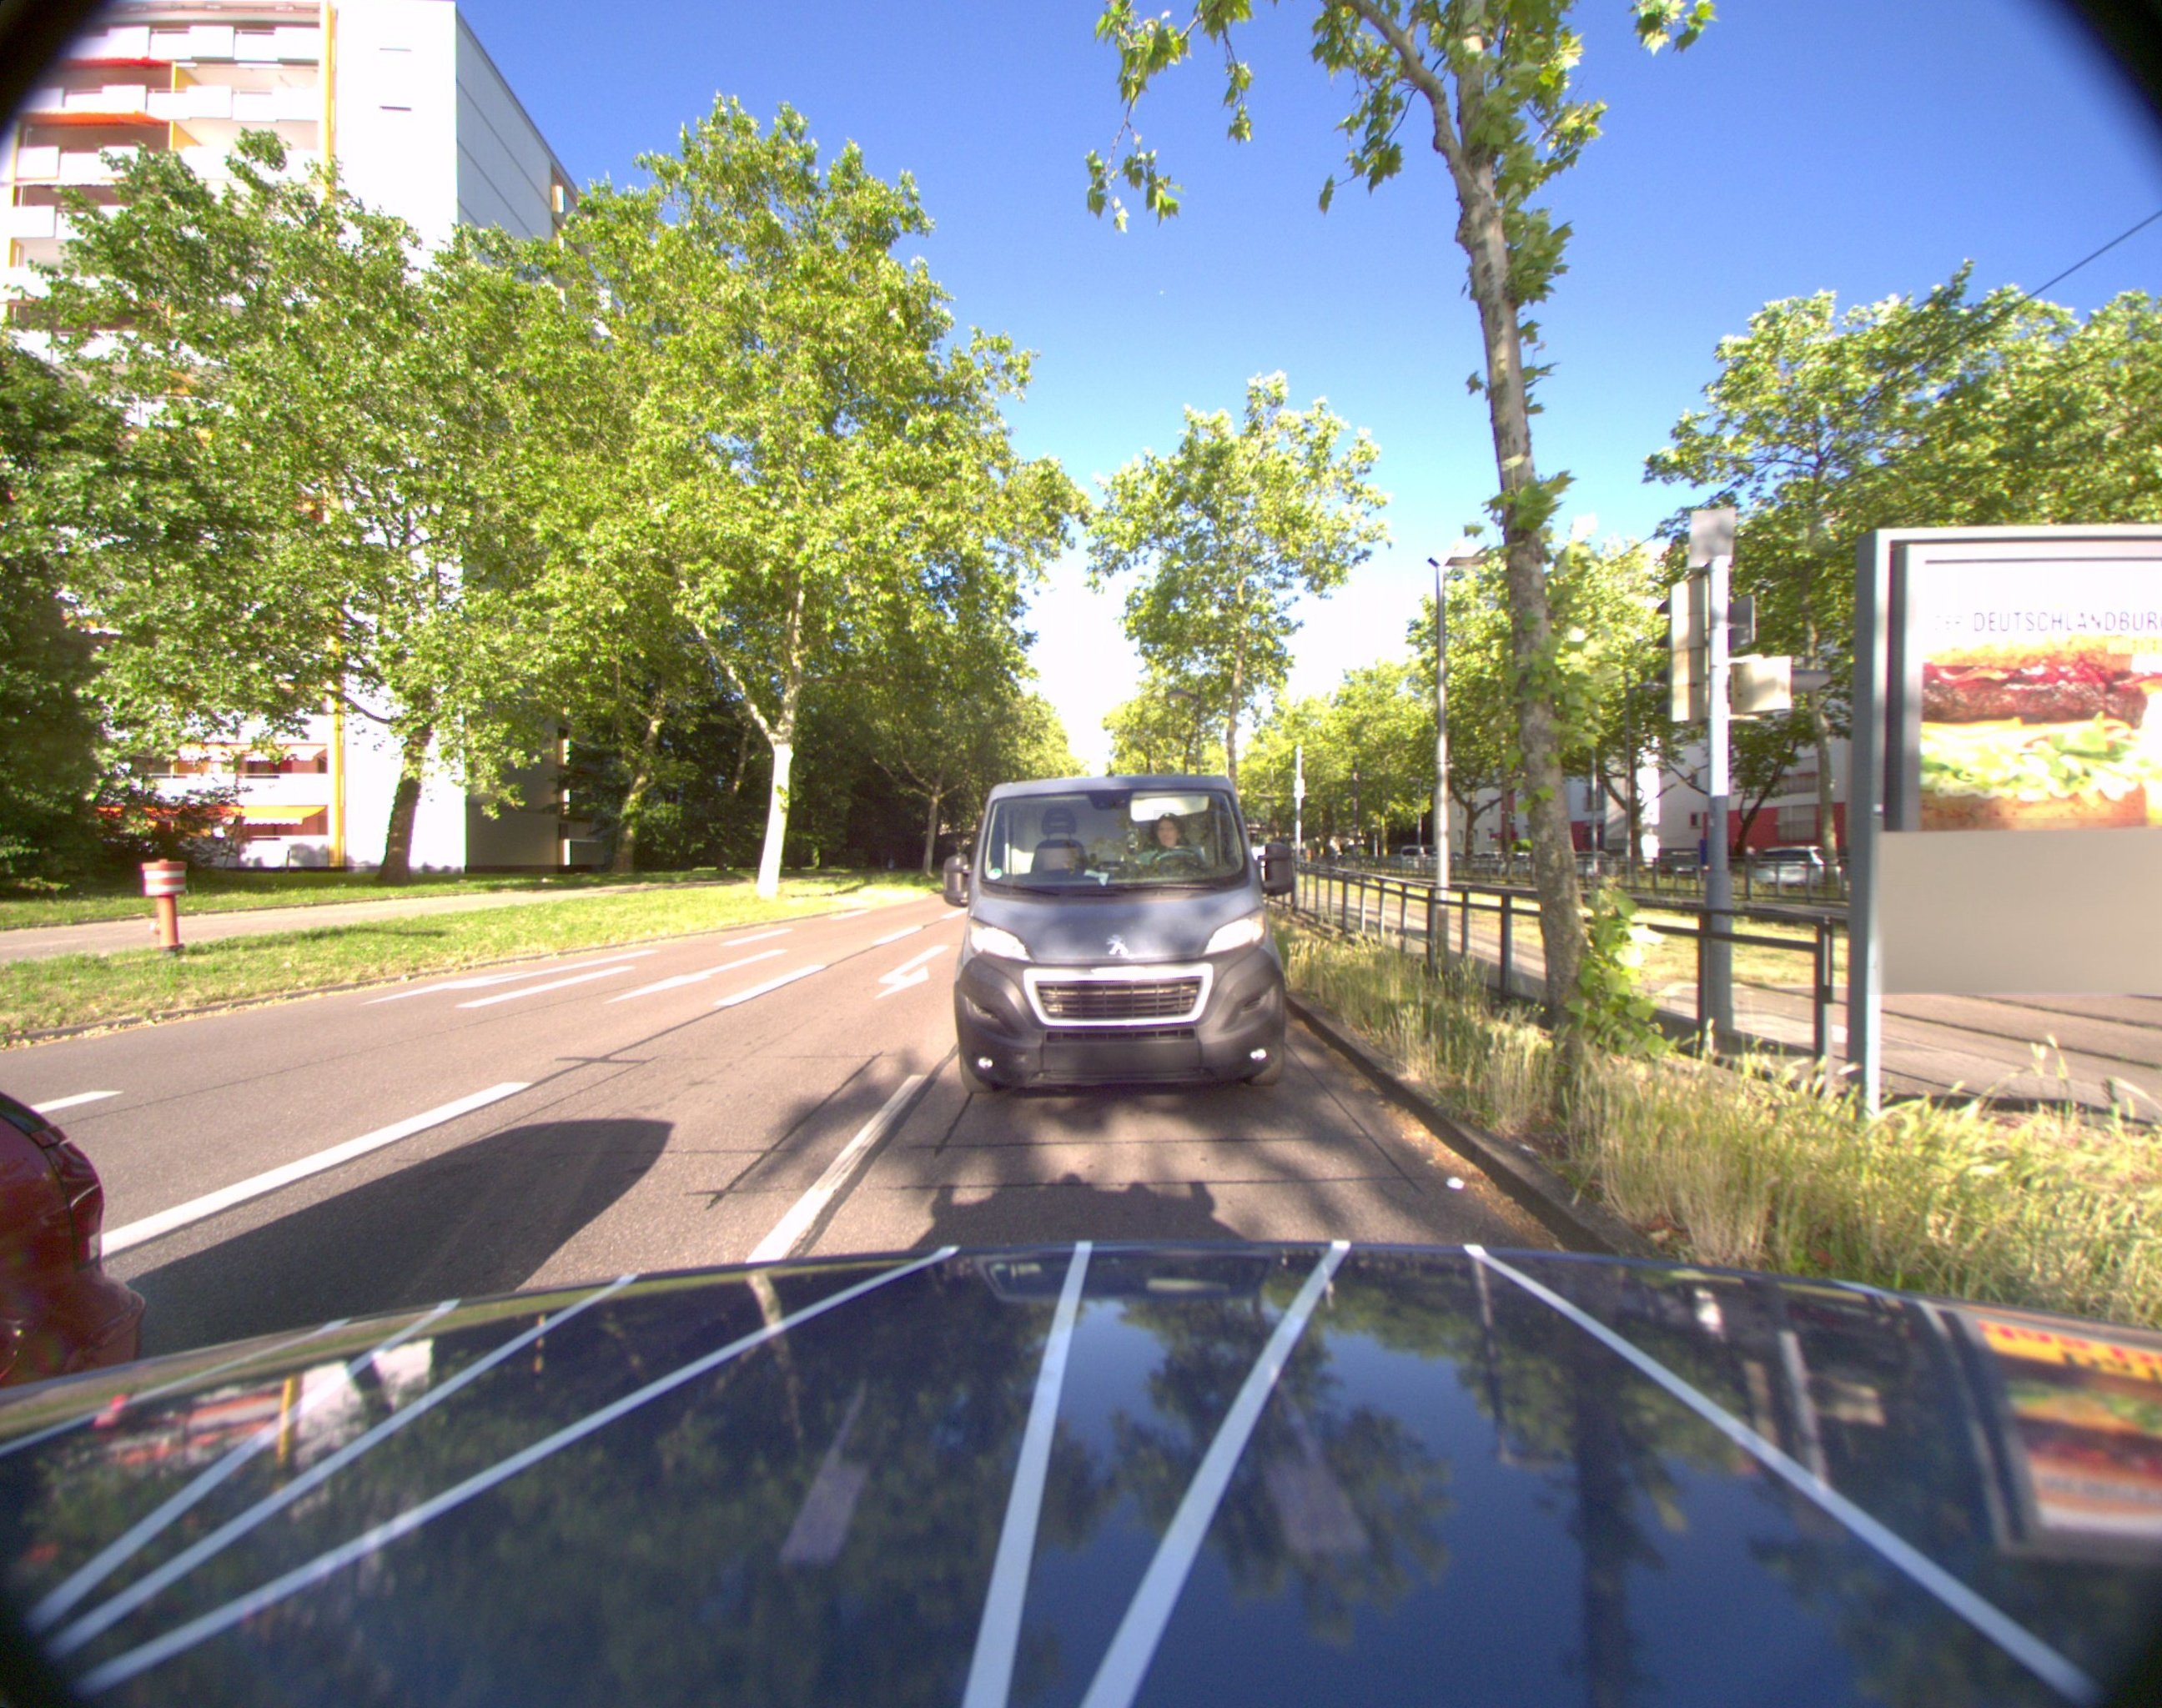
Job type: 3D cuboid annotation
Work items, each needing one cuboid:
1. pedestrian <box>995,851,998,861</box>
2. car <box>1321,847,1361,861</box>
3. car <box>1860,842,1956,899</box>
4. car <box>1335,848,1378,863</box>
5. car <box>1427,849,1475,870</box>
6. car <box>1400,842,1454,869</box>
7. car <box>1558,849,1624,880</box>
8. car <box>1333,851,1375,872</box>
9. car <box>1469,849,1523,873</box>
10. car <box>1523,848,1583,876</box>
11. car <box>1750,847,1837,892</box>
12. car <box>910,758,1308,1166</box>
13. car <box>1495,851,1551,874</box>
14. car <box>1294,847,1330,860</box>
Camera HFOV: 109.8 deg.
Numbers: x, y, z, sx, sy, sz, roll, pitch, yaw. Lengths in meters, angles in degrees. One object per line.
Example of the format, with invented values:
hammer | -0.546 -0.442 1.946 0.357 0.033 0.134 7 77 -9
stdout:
pedestrian | -12.400 0.322 111.469 0.398 1.454 0.417 -1 1 3
car | 27.247 0.022 79.573 4.376 1.367 1.919 -1 1 -39
car | 25.019 0.461 22.959 3.689 1.558 1.683 -1 1 -38
car | 26.592 0.098 73.276 4.376 1.367 1.919 -1 1 -39
car | 26.248 0.346 53.897 3.689 1.388 1.645 -1 1 -39
car | 25.964 0.084 56.990 4.376 1.873 1.919 -1 1 -39
car | 25.332 0.500 37.689 3.689 1.384 1.645 -1 1 -38
car | 19.880 0.512 55.533 1.825 1.412 3.758 -1 0 2
car | 25.959 0.414 47.493 3.689 1.440 1.645 -1 1 -39
car | 25.813 0.428 41.516 3.689 1.440 1.645 -1 1 -39
car | 25.057 0.493 26.684 3.689 1.425 1.683 -1 1 -38
car | 0.185 0.558 6.558 2.040 2.102 5.113 -2 0 1
car | 26.202 0.481 44.958 3.689 1.234 1.645 -1 1 -39
car | 27.206 -0.061 89.427 4.376 1.367 1.919 -1 1 -39
